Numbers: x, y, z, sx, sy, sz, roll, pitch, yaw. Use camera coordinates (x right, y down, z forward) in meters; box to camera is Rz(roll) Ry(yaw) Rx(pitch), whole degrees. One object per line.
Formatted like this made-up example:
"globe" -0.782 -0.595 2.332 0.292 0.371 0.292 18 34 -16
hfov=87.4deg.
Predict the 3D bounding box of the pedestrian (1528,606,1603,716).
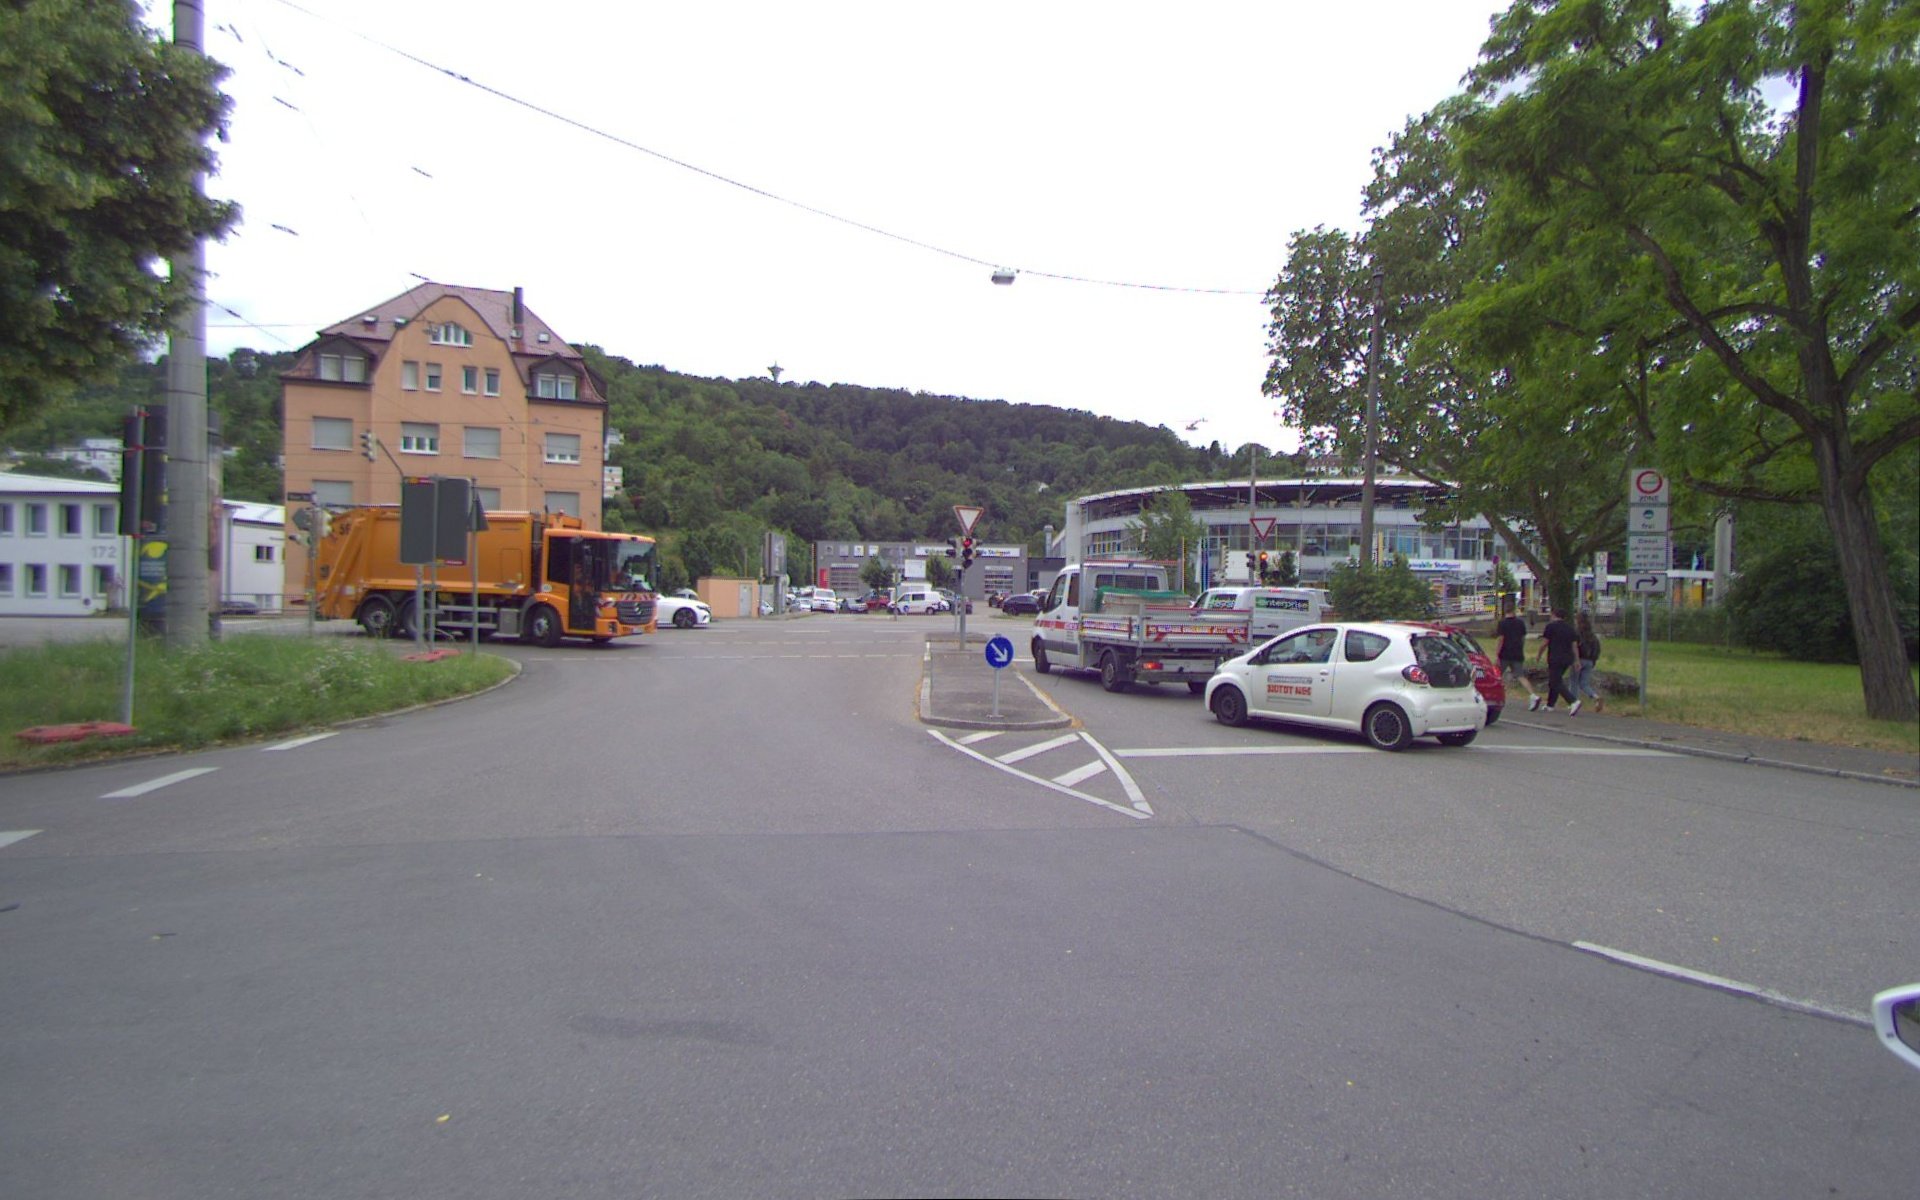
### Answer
"pedestrian" 9.881 0.968 16.409 0.685 1.737 0.784 0 1 -21

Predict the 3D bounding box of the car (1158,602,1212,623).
"car" 17.465 0.976 78.145 1.756 1.521 3.986 1 0 -33

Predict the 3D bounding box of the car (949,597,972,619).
"car" 0.016 0.706 89.454 1.961 1.840 3.999 1 0 -1

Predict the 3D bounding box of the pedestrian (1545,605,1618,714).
"pedestrian" 10.441 0.975 16.895 0.685 1.763 0.784 0 1 -21

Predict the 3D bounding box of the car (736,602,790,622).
"car" -16.249 0.967 82.803 4.149 1.554 1.769 1 0 -17

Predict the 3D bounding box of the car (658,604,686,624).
"car" -24.681 1.180 86.164 1.750 1.539 3.626 1 1 -6

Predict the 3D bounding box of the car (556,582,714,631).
"car" -10.612 0.213 33.067 4.817 1.528 1.798 1 1 -17

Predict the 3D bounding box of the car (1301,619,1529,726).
"car" 7.236 1.099 16.341 1.616 1.476 3.422 2 0 -13

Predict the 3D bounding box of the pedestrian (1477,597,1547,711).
"pedestrian" 9.364 0.894 17.053 0.685 1.882 0.784 0 1 -21

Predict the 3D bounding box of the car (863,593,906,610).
"car" -7.421 0.155 99.327 4.009 1.554 1.776 1 0 2

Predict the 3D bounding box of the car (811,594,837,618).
"car" -10.679 0.435 78.636 1.833 1.842 4.393 1 0 -11

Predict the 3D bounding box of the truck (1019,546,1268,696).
"truck" 3.232 0.332 19.441 2.389 2.430 6.009 0 0 -15

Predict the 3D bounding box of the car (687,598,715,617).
"car" -22.083 0.627 85.677 1.750 1.539 3.626 1 1 -6

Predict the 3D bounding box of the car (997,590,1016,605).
"car" 4.744 -0.261 102.366 1.740 1.554 4.090 1 0 1

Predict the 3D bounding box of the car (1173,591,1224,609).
"car" 21.585 -0.001 91.026 4.156 1.512 1.786 1 1 44

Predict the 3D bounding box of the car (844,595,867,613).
"car" -9.332 0.304 90.245 1.741 1.554 4.089 1 0 -2

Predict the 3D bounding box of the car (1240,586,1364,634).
"car" 15.452 0.450 45.433 5.220 2.041 1.963 1 1 -20

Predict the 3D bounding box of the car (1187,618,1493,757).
"car" 4.758 0.996 12.956 1.627 1.452 3.399 0 0 -33

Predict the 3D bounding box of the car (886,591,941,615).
"car" -3.977 0.232 86.346 4.611 1.929 1.776 1 1 3

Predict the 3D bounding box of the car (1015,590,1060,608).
"car" 8.270 -0.076 107.179 4.716 1.827 1.775 1 0 0

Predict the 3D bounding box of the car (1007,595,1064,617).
"car" 5.465 0.415 72.199 3.803 1.521 1.776 1 0 15

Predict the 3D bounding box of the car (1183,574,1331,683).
"car" 6.359 0.554 22.095 1.956 2.135 4.762 0 0 2

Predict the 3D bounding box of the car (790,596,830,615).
"car" -12.672 0.439 84.878 1.758 1.554 4.050 1 0 -35

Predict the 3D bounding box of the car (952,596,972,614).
"car" 0.205 0.449 89.403 1.740 1.554 4.090 1 0 1

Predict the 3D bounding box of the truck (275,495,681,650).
"truck" -12.740 -0.782 26.587 10.211 3.574 2.799 2 1 15

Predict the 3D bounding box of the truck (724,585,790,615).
"truck" -17.308 -0.001 85.700 5.139 2.425 1.984 1 1 -30
